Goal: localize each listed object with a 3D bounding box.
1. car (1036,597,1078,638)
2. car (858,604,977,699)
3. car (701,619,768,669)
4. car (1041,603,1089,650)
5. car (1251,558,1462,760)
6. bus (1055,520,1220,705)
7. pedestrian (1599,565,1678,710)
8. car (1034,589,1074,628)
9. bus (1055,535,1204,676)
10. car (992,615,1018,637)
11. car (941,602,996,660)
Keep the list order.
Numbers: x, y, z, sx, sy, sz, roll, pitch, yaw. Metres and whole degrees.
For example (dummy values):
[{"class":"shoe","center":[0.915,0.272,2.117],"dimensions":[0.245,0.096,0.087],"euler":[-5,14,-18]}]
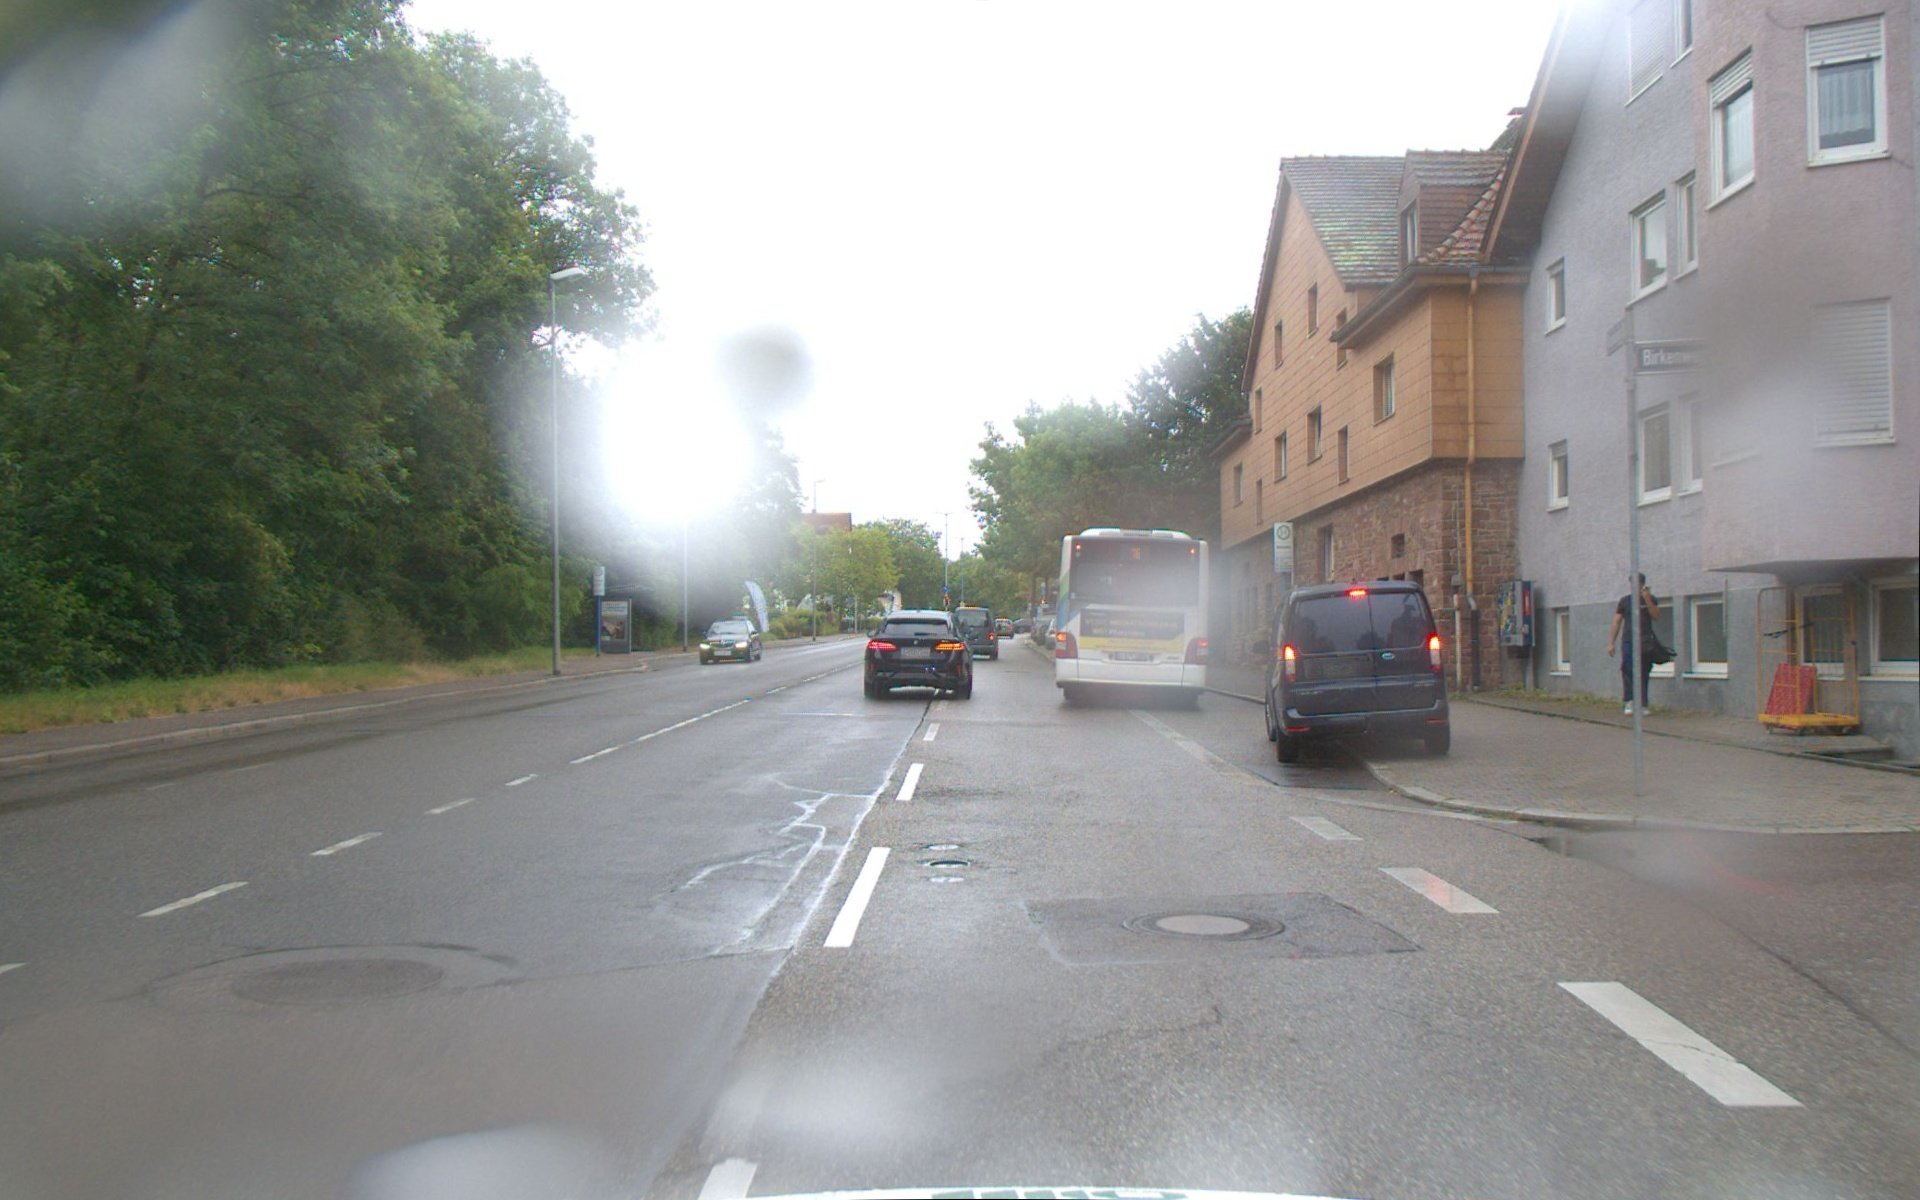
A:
[{"class":"car","center":[5.094,0.904,87.152],"dimensions":[1.953,2.049,4.000],"euler":[0,1,-1]},{"class":"car","center":[-0.715,0.877,29.955],"dimensions":[1.953,1.478,4.000],"euler":[2,0,0]},{"class":"car","center":[-7.763,1.494,57.284],"dimensions":[1.734,1.560,4.000],"euler":[-1,0,0]},{"class":"car","center":[4.853,1.210,77.126],"dimensions":[1.953,2.049,4.000],"euler":[0,1,-1]},{"class":"car","center":[4.385,0.625,18.960],"dimensions":[1.886,1.925,4.765],"euler":[-4,-1,9]},{"class":"bus","center":[3.283,0.165,30.604],"dimensions":[2.567,2.897,8.295],"euler":[-1,0,6]},{"class":"pedestrian","center":[8.631,0.469,21.064],"dimensions":[0.676,1.785,0.669],"euler":[-2,0,0]},{"class":"car","center":[5.202,0.425,91.801],"dimensions":[1.953,2.049,4.000],"euler":[0,1,-1]},{"class":"bus","center":[3.833,0.082,39.498],"dimensions":[2.569,2.897,9.795],"euler":[-1,0,0]},{"class":"car","center":[3.464,2.005,128.129],"dimensions":[1.827,1.545,4.000],"euler":[0,1,-1]},{"class":"car","center":[0.335,1.105,60.559],"dimensions":[1.952,2.049,4.000],"euler":[0,0,1]}]
